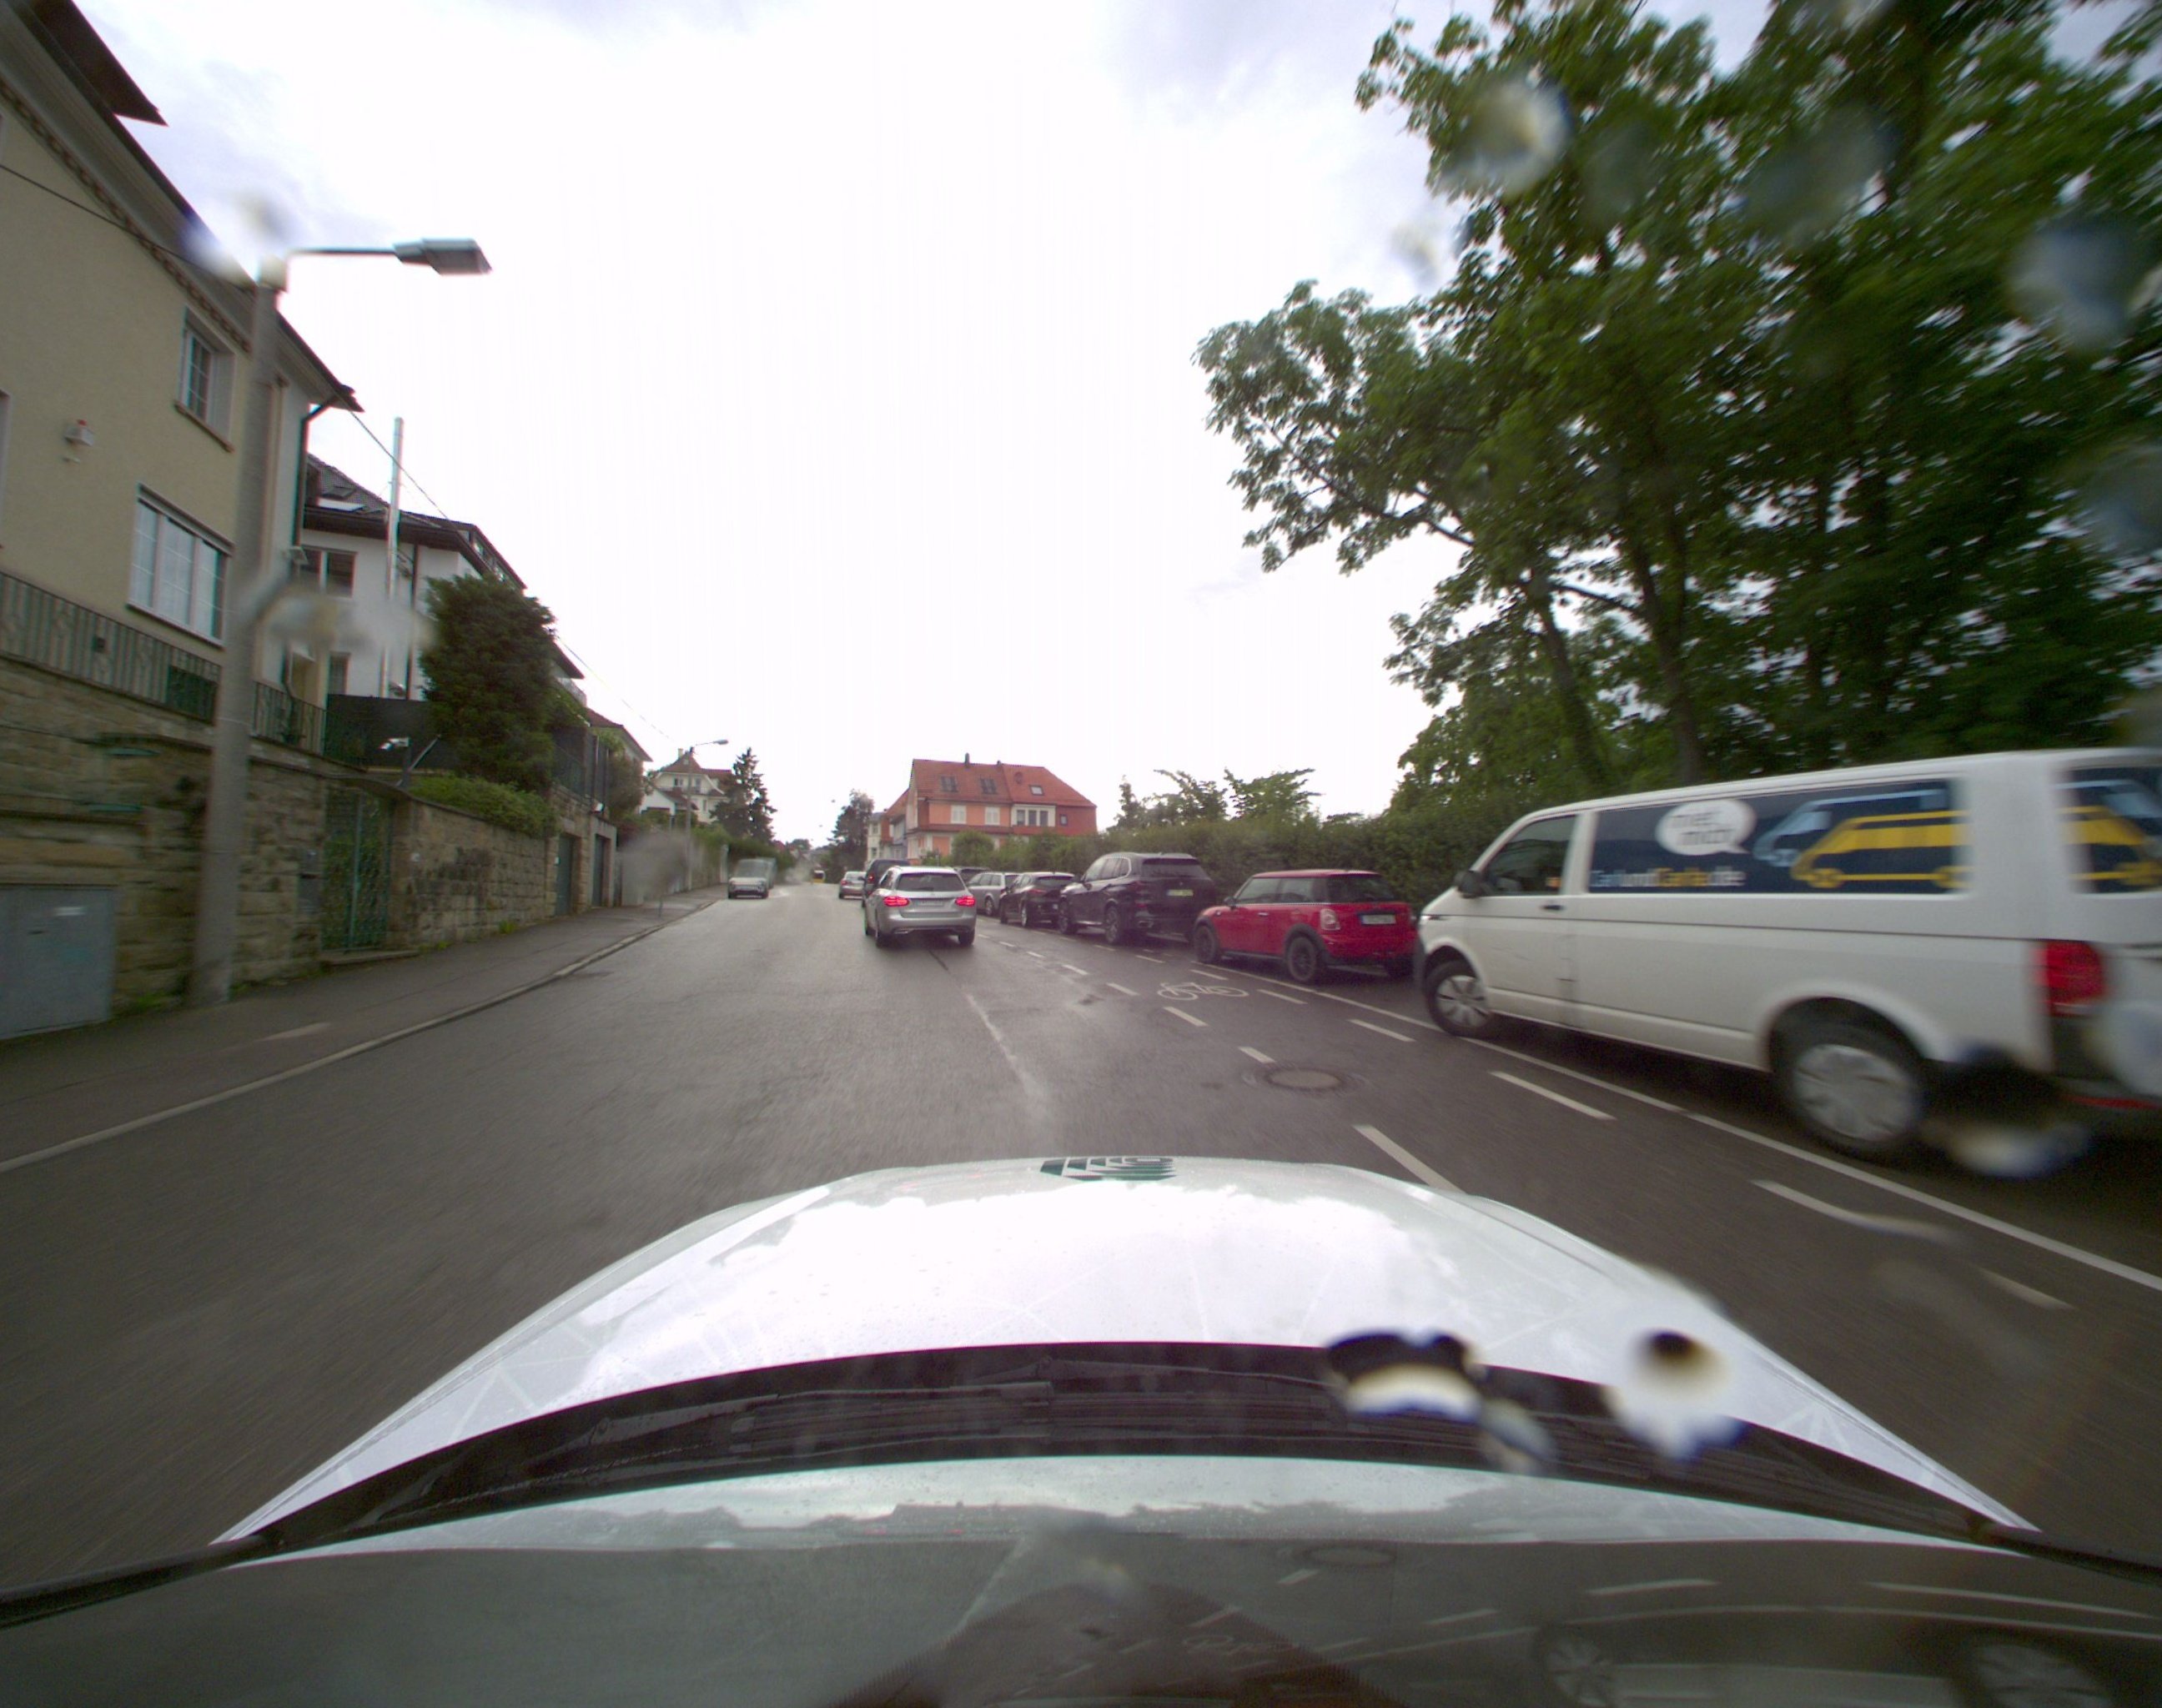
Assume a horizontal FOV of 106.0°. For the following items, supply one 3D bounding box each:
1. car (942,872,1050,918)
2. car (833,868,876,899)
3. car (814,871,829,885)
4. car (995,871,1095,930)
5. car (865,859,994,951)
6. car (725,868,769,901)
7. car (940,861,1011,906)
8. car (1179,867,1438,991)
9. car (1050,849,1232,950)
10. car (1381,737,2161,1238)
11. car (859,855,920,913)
[{"bbox_3d":[-3.046,1.350,28.222,1.812,1.440,4.593,1,-1,-33],"label":"car"},{"bbox_3d":[-11.829,1.508,42.398,1.859,1.458,4.068,-2,-1,-19],"label":"car"},{"bbox_3d":[-49.683,4.565,155.760,2.475,2.400,3.973,-3,0,-20],"label":"car"},{"bbox_3d":[-1.065,1.202,22.119,1.693,1.422,3.958,0,-2,-19],"label":"car"},{"bbox_3d":[-3.145,0.906,16.141,1.988,1.554,4.271,0,-1,-18],"label":"car"},{"bbox_3d":[-17.512,1.556,42.840,1.904,1.567,4.209,-1,-1,-20],"label":"car"},{"bbox_3d":[-4.385,1.176,33.261,1.894,1.663,4.516,2,-2,-21],"label":"car"},{"bbox_3d":[3.019,0.916,11.624,1.677,1.414,3.715,0,-1,-21],"label":"car"},{"bbox_3d":[1.035,0.821,17.039,2.033,1.783,4.867,0,-1,-19],"label":"car"},{"bbox_3d":[4.351,0.510,5.720,1.862,1.948,4.786,-2,0,-13],"label":"car"},{"bbox_3d":[-7.107,1.025,29.907,1.829,1.882,4.071,-4,1,-17],"label":"car"}]
